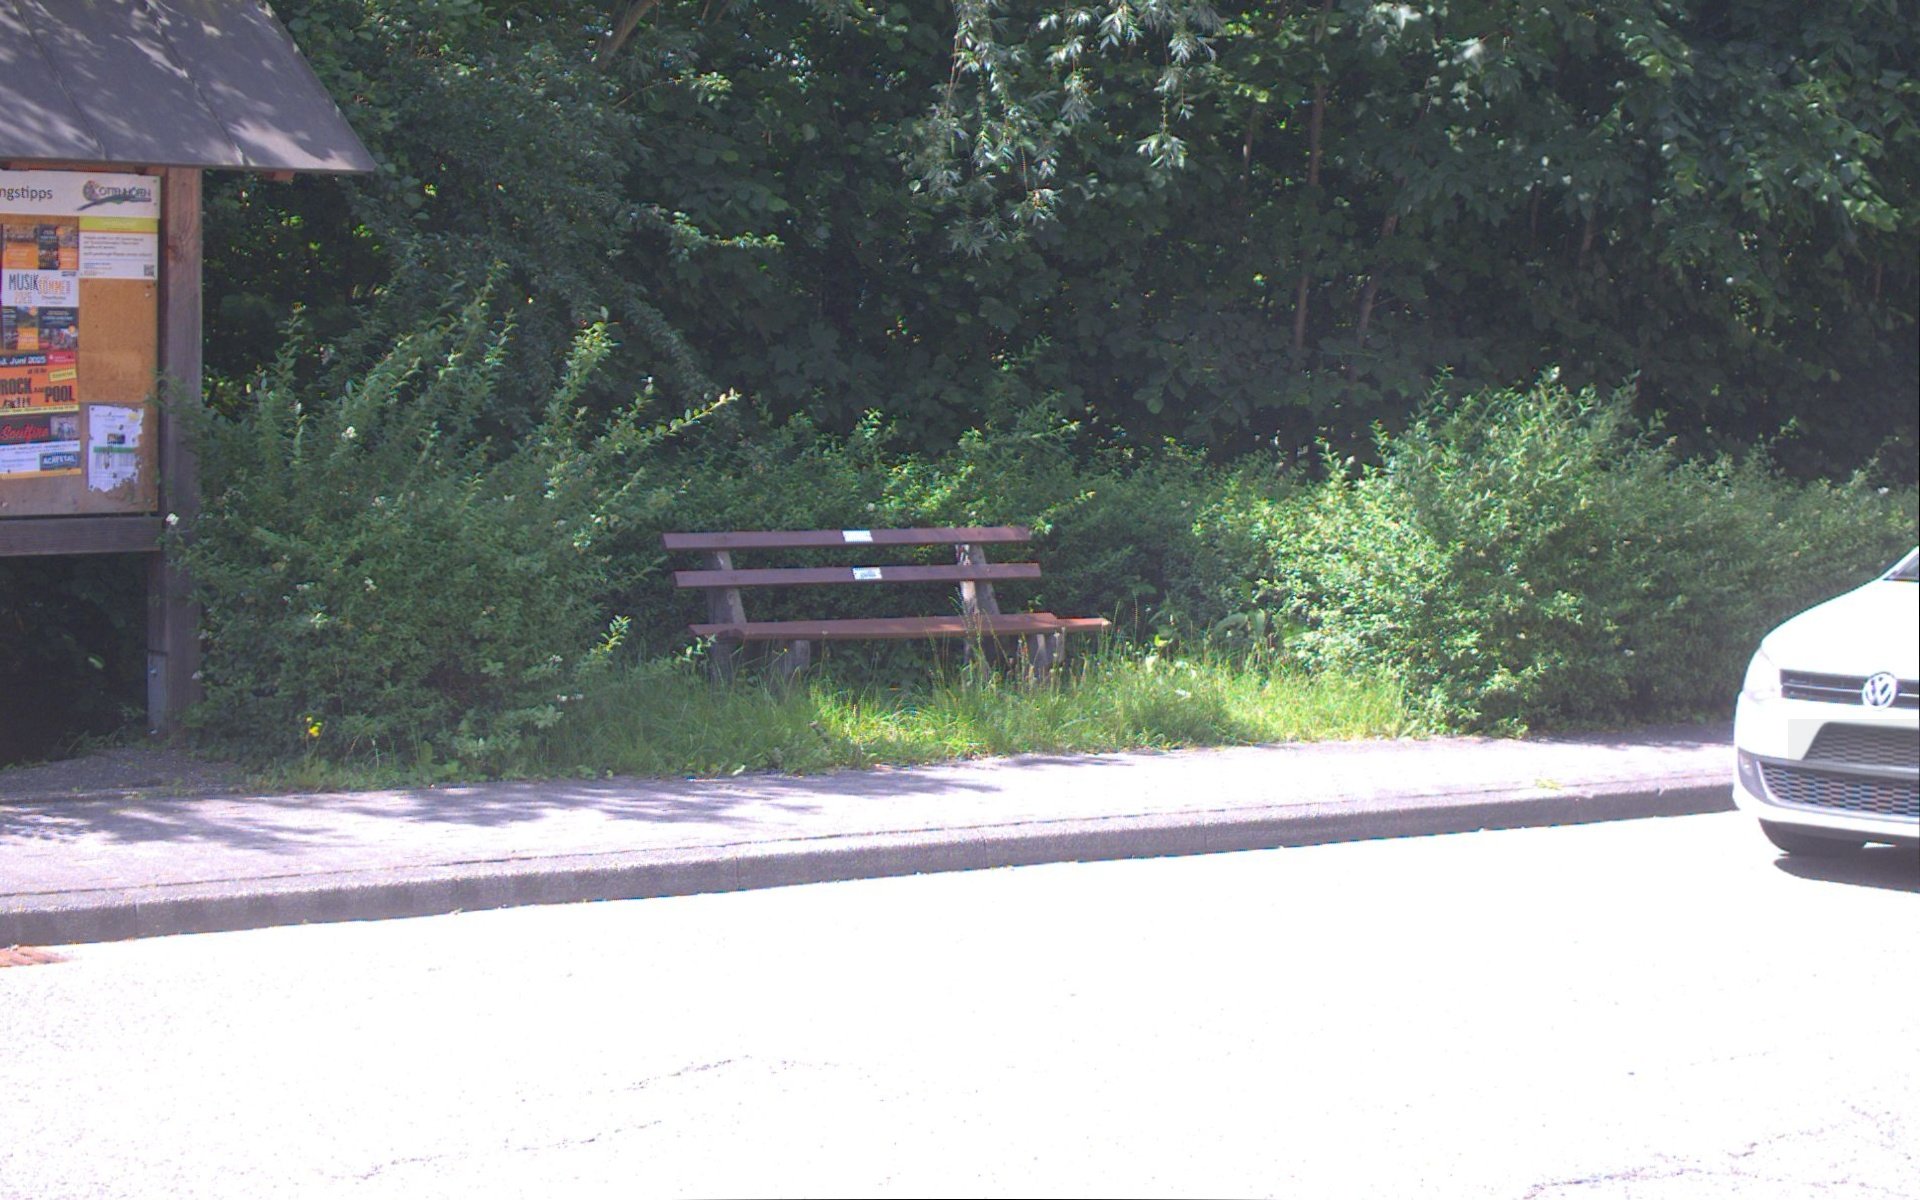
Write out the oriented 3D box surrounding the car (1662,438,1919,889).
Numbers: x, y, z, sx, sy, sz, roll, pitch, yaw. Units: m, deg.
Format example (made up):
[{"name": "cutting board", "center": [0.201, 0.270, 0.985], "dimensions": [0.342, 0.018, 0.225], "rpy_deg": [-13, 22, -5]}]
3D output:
[{"name": "car", "center": [4.319, 0.201, 12.124], "dimensions": [3.816, 1.401, 1.609], "rpy_deg": [0, 2, -42]}]
